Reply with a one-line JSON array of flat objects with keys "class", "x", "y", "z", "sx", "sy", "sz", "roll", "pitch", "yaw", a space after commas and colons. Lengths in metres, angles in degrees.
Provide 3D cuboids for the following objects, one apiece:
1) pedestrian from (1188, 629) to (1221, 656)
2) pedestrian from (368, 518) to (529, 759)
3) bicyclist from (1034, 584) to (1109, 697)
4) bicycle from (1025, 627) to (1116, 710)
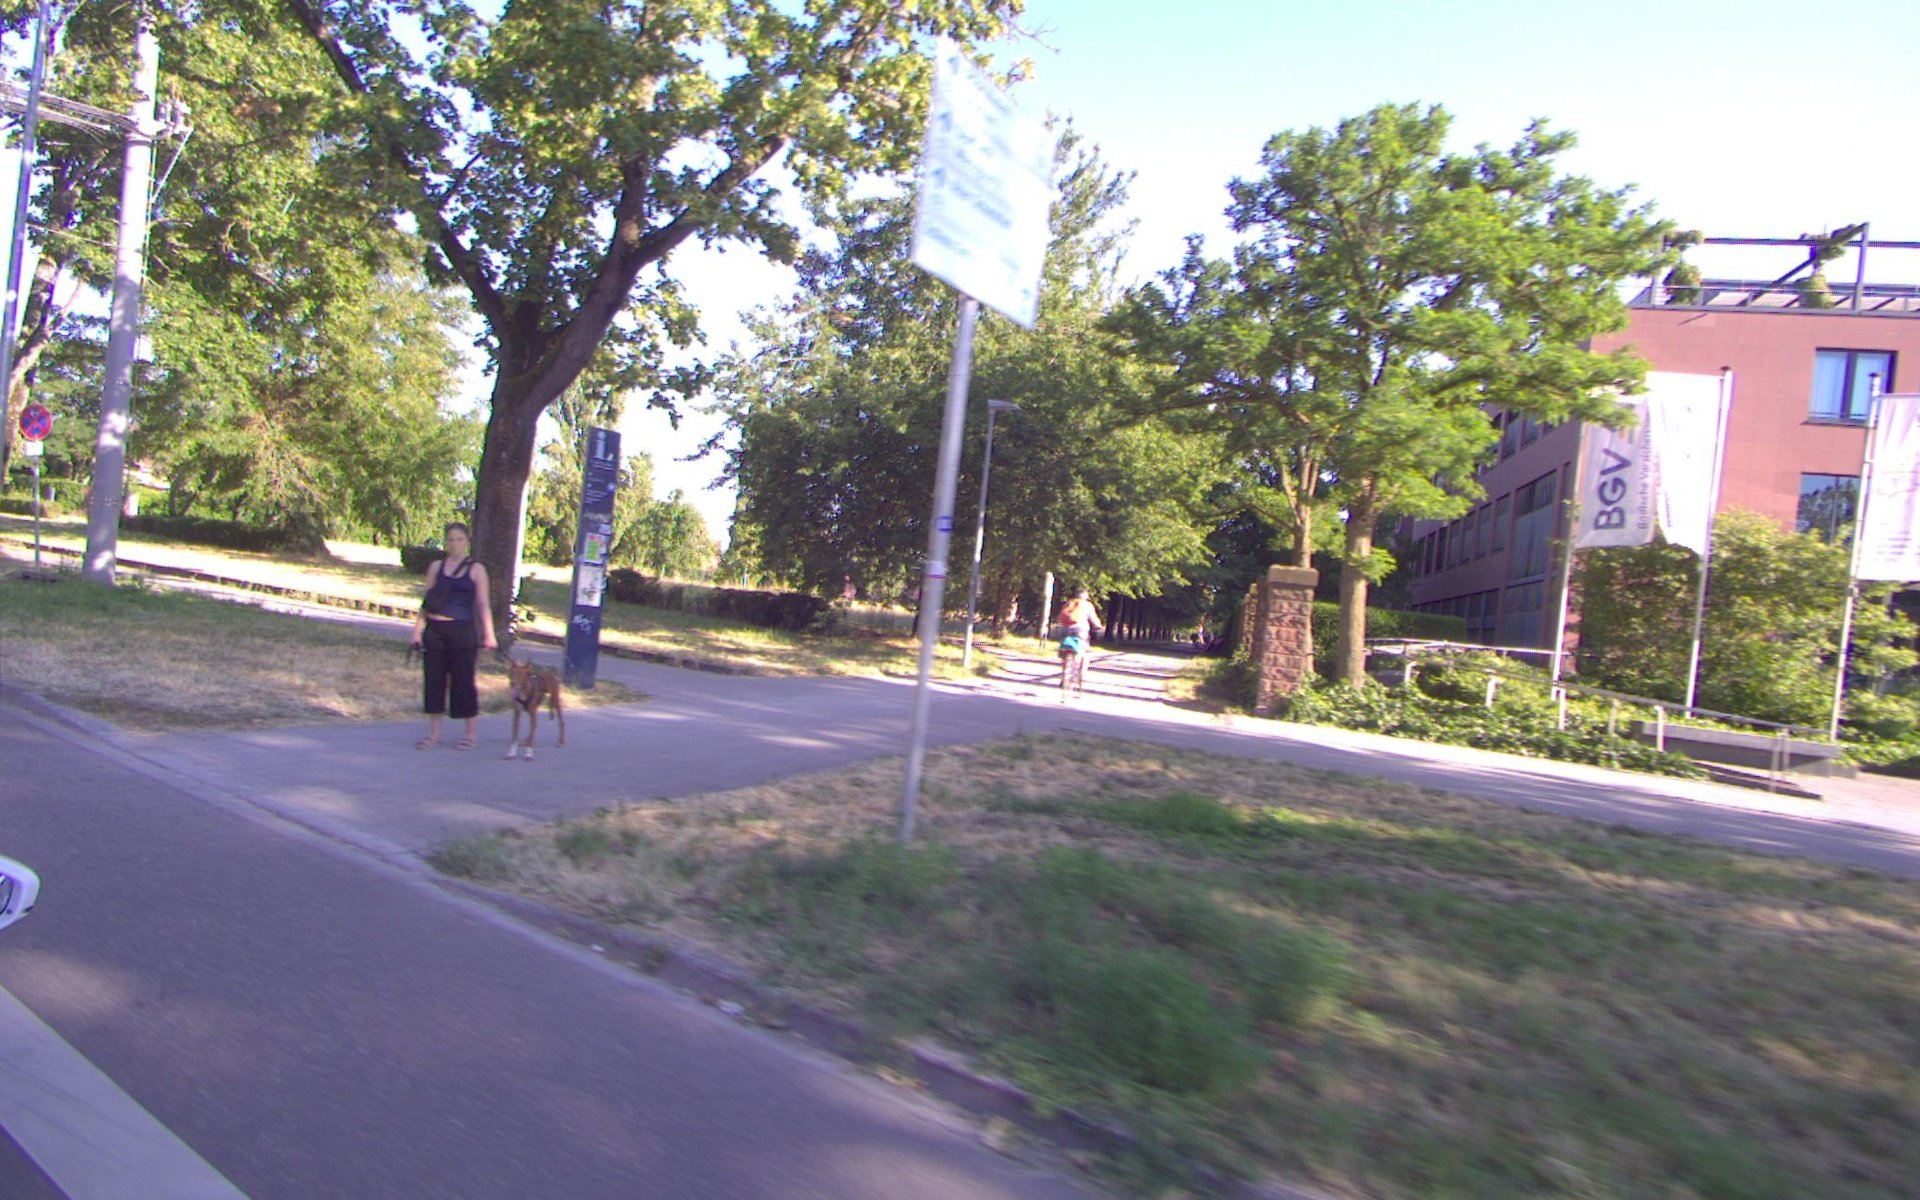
[{"class": "pedestrian", "x": 12.323, "y": 2.148, "z": 50.694, "sx": 1.503, "sy": 1.128, "sz": 0.893, "roll": 7, "pitch": -2, "yaw": 16}, {"class": "pedestrian", "x": -3.866, "y": 0.268, "z": 7.602, "sx": 0.848, "sy": 1.669, "sz": 0.660, "roll": 6, "pitch": 3, "yaw": 31}, {"class": "bicyclist", "x": 1.635, "y": 0.582, "z": 14.647, "sx": 0.752, "sy": 1.515, "sz": 0.906, "roll": 7, "pitch": 1, "yaw": 19}, {"class": "bicycle", "x": 1.680, "y": 0.985, "z": 14.903, "sx": 0.752, "sy": 1.053, "sz": 2.267, "roll": 7, "pitch": 0, "yaw": 19}]
